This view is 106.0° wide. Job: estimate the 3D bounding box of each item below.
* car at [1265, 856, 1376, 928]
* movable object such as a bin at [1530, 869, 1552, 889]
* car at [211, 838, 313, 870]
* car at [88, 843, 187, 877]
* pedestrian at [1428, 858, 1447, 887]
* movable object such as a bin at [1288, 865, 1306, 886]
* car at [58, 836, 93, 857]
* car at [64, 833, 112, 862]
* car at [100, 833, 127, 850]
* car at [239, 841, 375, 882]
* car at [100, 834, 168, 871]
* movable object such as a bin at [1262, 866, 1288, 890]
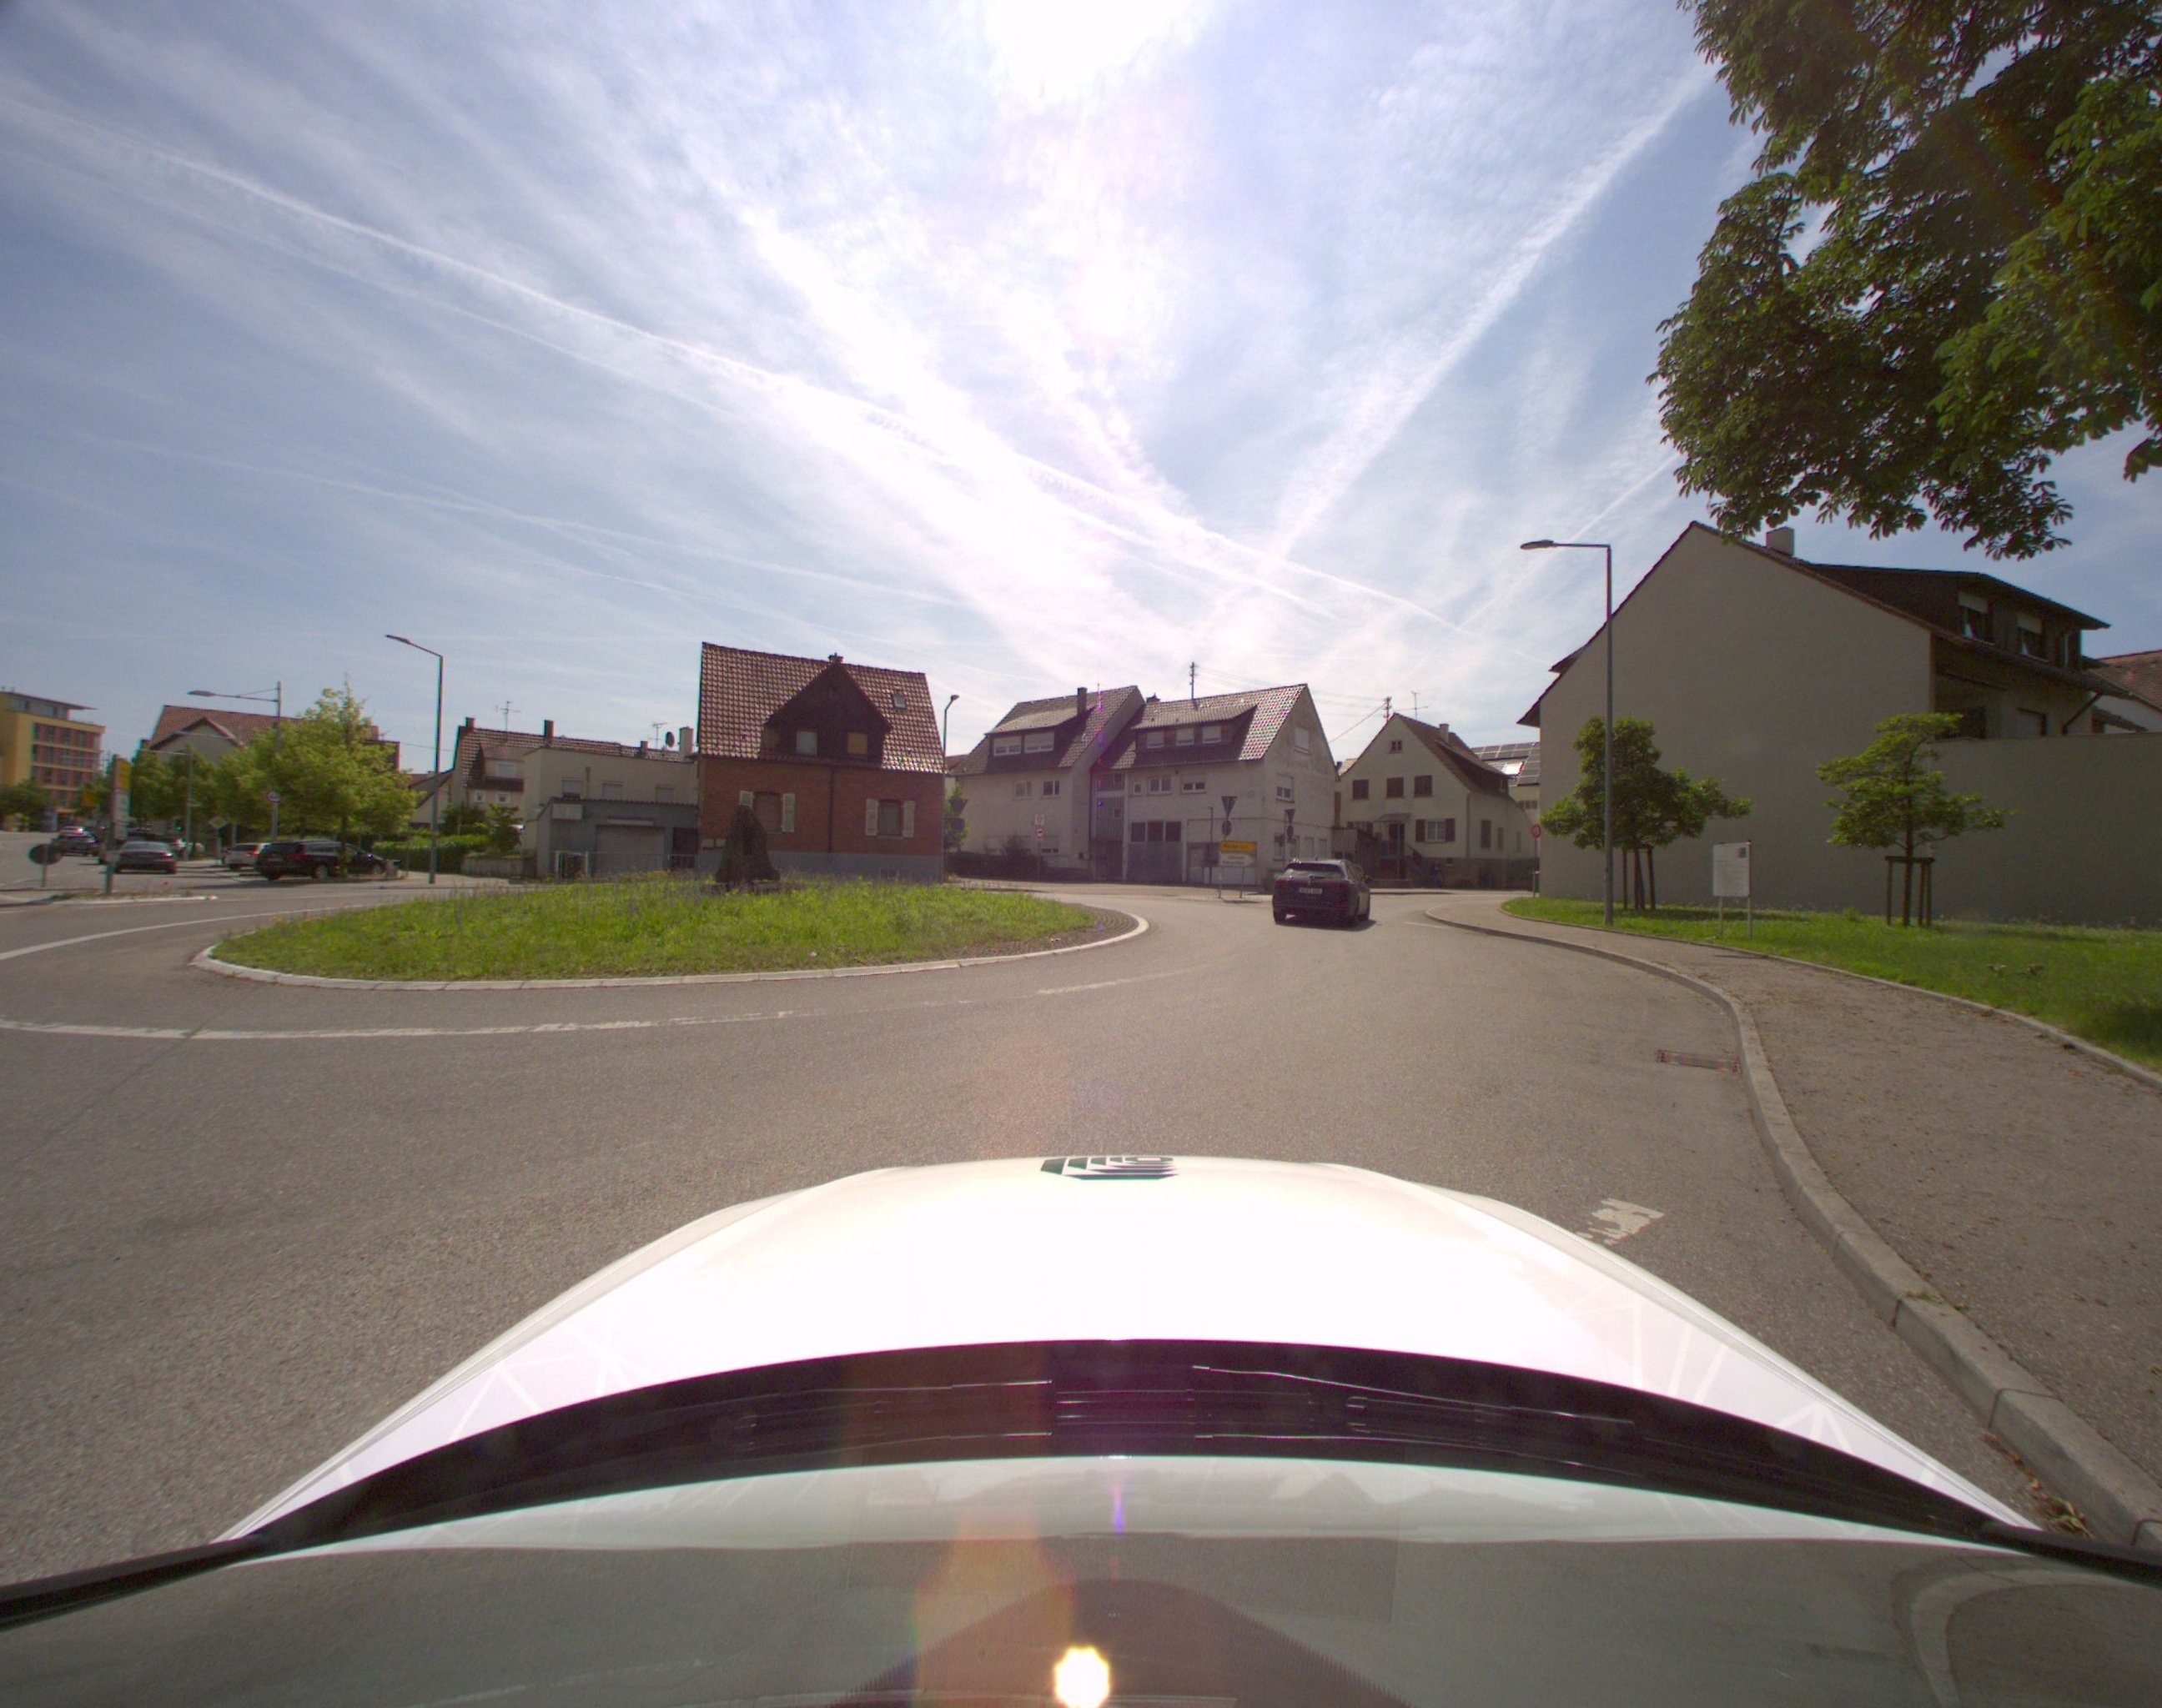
[{"bbox_3d":[5.719,0.784,19.035,1.825,1.420,4.709,1,0,24],"label":"car"},{"bbox_3d":[24.284,1.319,43.020,0.653,1.057,0.786,1,-1,-30],"label":"movable object such as a bin"},{"bbox_3d":[-45.031,0.018,44.920,1.866,1.669,3.988,1,-1,-9],"label":"car"},{"bbox_3d":[-41.516,0.254,35.822,4.162,1.391,1.889,1,-1,27],"label":"car"},{"bbox_3d":[20.035,1.025,45.764,0.630,1.574,0.771,1,0,-35],"label":"pedestrian"},{"bbox_3d":[11.146,1.111,42.089,0.676,1.086,0.649,1,0,37],"label":"movable object such as a bin"},{"bbox_3d":[-101.975,-0.758,82.663,3.949,2.014,2.131,1,-1,40],"label":"car"},{"bbox_3d":[-72.965,-0.452,59.883,3.949,2.014,2.131,1,-1,40],"label":"car"},{"bbox_3d":[-120.129,-1.508,101.116,3.949,2.014,2.131,1,-1,40],"label":"car"},{"bbox_3d":[-33.094,0.309,34.983,1.804,1.618,4.004,1,-1,4],"label":"car"},{"bbox_3d":[-54.143,-0.080,46.538,3.948,2.014,2.131,1,-1,35],"label":"car"},{"bbox_3d":[8.741,1.085,36.722,0.826,1.045,0.807,1,0,-17],"label":"movable object such as a bin"}]
